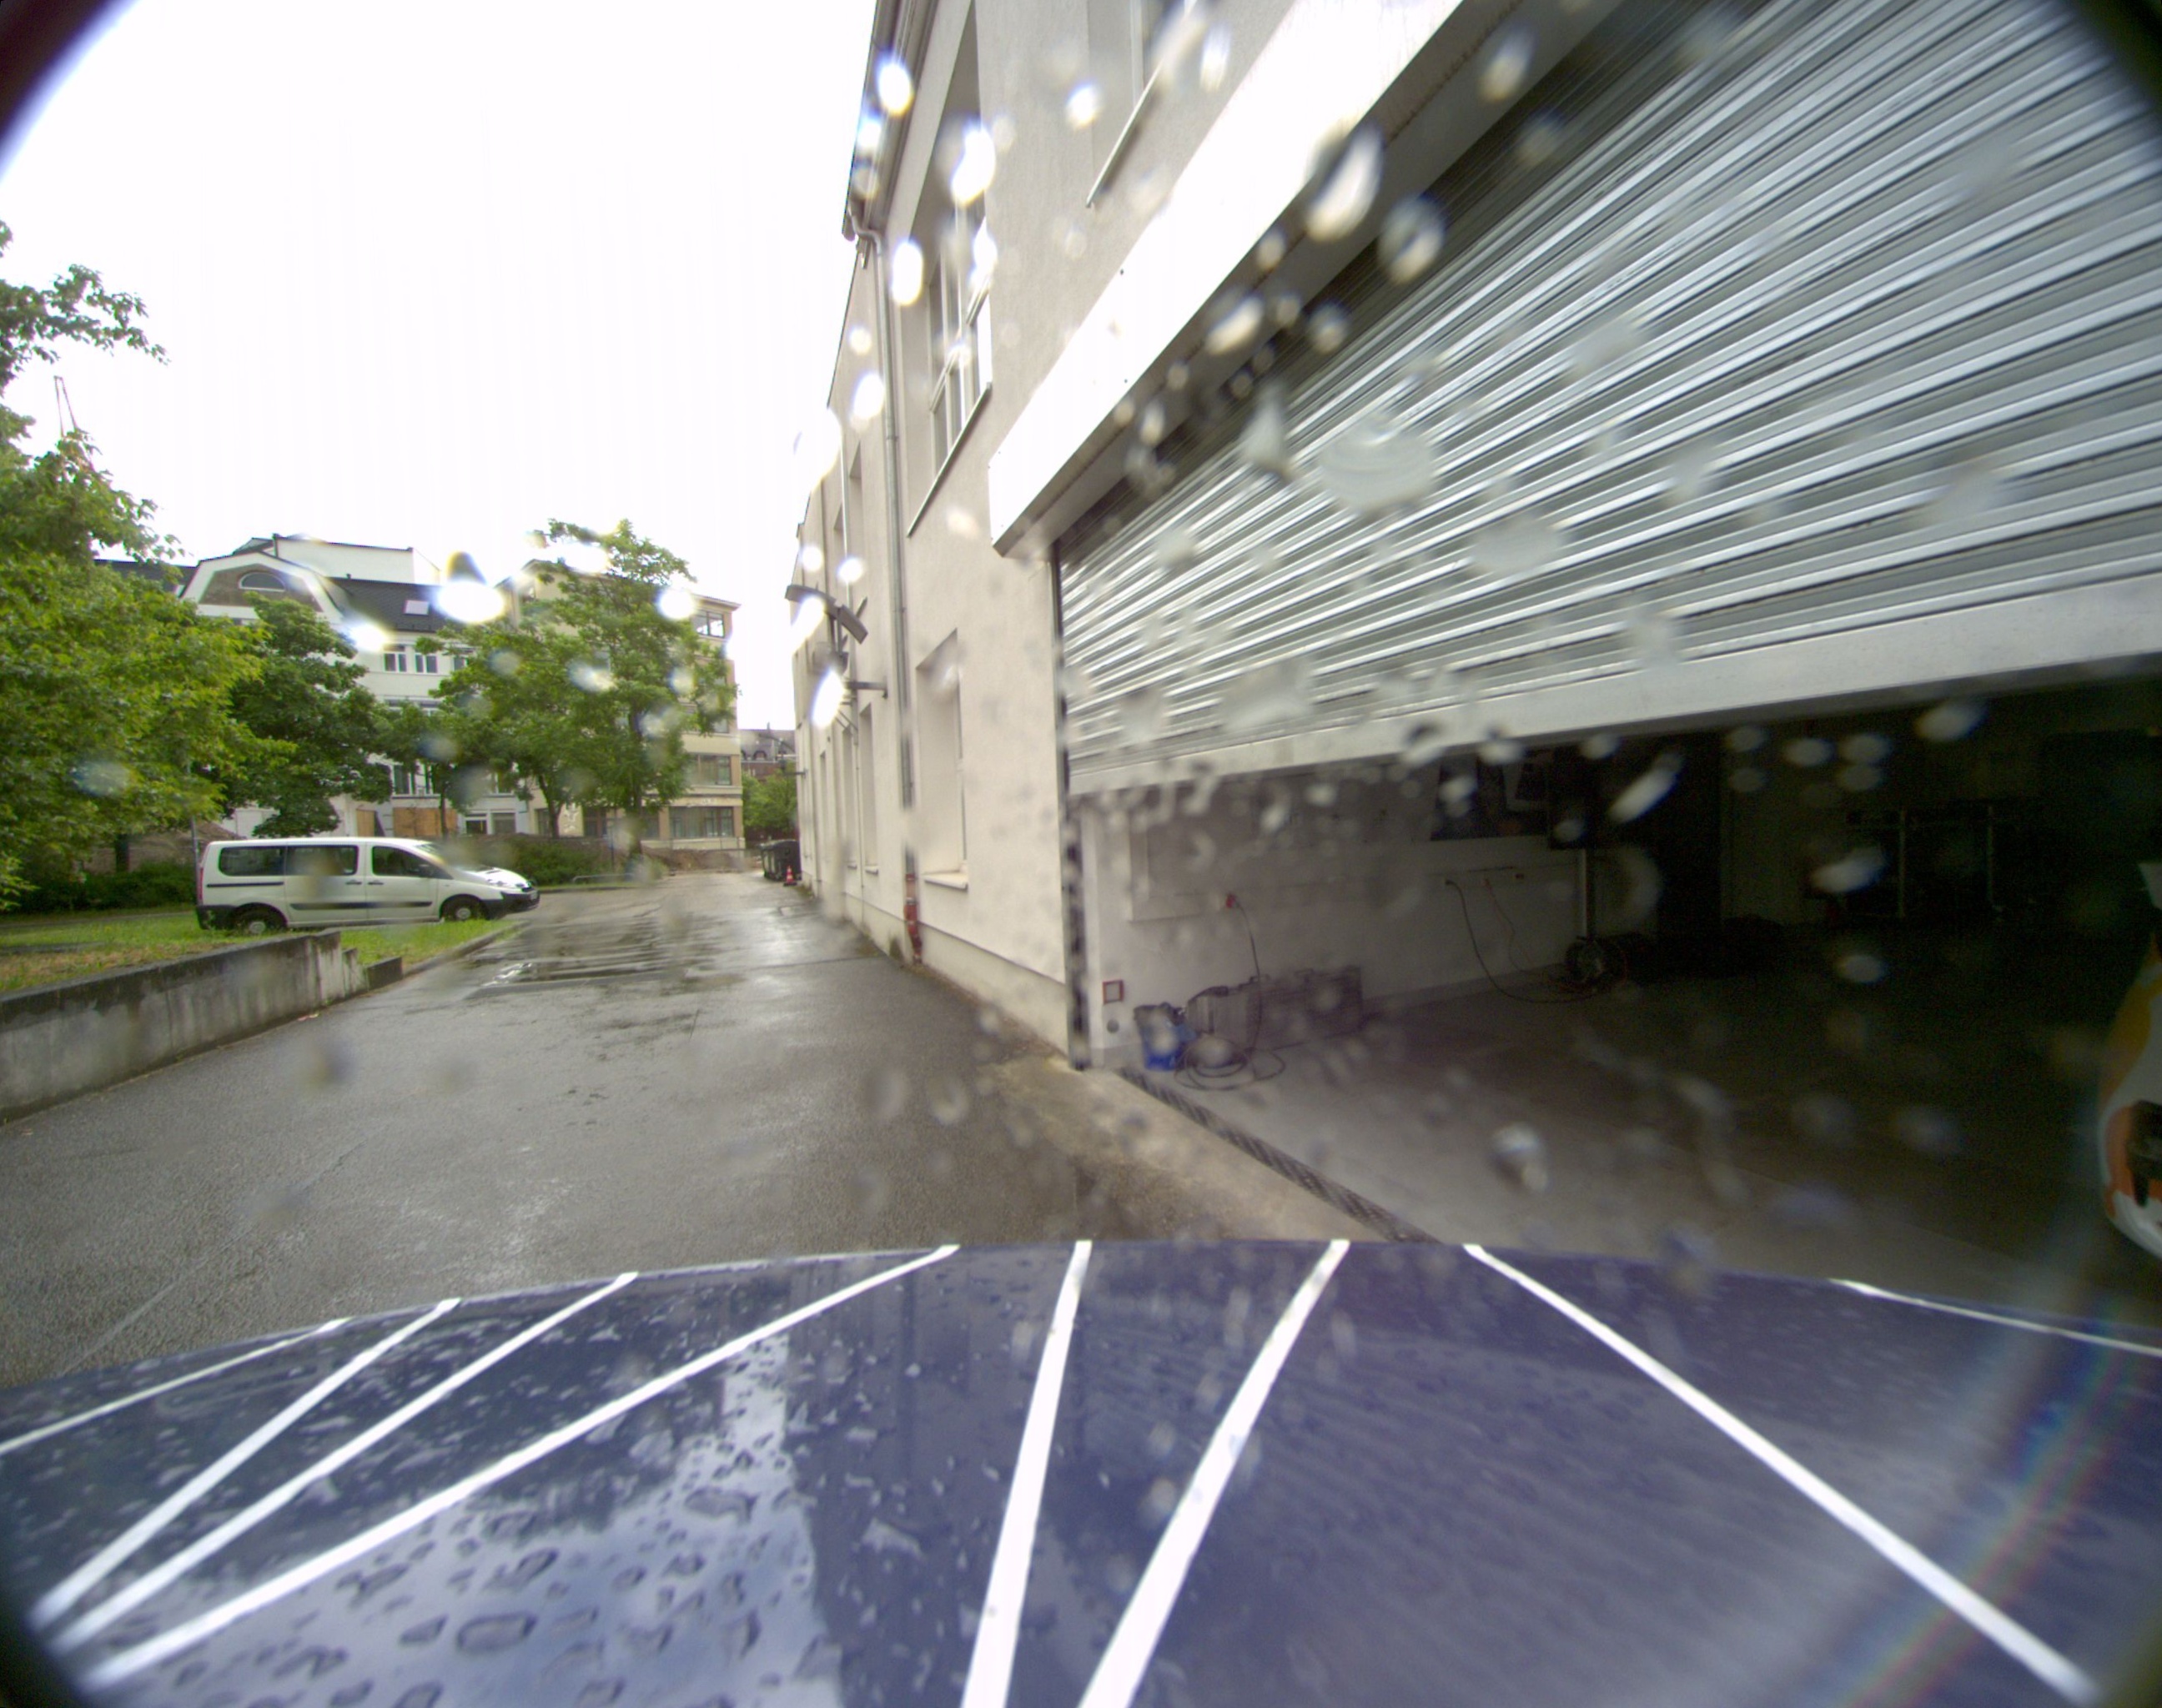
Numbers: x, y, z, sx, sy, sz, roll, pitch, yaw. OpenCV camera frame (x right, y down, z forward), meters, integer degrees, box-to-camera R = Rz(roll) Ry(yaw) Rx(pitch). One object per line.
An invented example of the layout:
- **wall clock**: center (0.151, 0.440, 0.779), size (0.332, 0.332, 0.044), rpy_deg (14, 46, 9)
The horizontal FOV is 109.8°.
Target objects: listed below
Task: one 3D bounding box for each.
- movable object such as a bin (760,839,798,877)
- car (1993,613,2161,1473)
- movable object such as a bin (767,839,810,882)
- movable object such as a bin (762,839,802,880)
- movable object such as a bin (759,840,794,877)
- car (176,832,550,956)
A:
- **movable object such as a bin**: center (-12.310, 0.160, 30.952), size (1.170, 1.475, 1.399), rpy_deg (-4, 1, -31)
- **car**: center (4.946, 0.308, 2.005), size (4.710, 2.003, 2.080), rpy_deg (-4, 3, -25)
- **movable object such as a bin**: center (-10.351, 0.202, 26.892), size (1.170, 1.475, 1.590), rpy_deg (-2, 2, -29)
- **movable object such as a bin**: center (-11.154, 0.186, 28.306), size (1.170, 1.475, 1.493), rpy_deg (-2, 2, -29)
- **movable object such as a bin**: center (-12.945, 0.163, 32.367), size (1.105, 1.465, 1.483), rpy_deg (-4, 3, -14)
- **car**: center (-13.912, 0.652, 15.234), size (4.894, 1.915, 2.095), rpy_deg (-4, 4, -22)
